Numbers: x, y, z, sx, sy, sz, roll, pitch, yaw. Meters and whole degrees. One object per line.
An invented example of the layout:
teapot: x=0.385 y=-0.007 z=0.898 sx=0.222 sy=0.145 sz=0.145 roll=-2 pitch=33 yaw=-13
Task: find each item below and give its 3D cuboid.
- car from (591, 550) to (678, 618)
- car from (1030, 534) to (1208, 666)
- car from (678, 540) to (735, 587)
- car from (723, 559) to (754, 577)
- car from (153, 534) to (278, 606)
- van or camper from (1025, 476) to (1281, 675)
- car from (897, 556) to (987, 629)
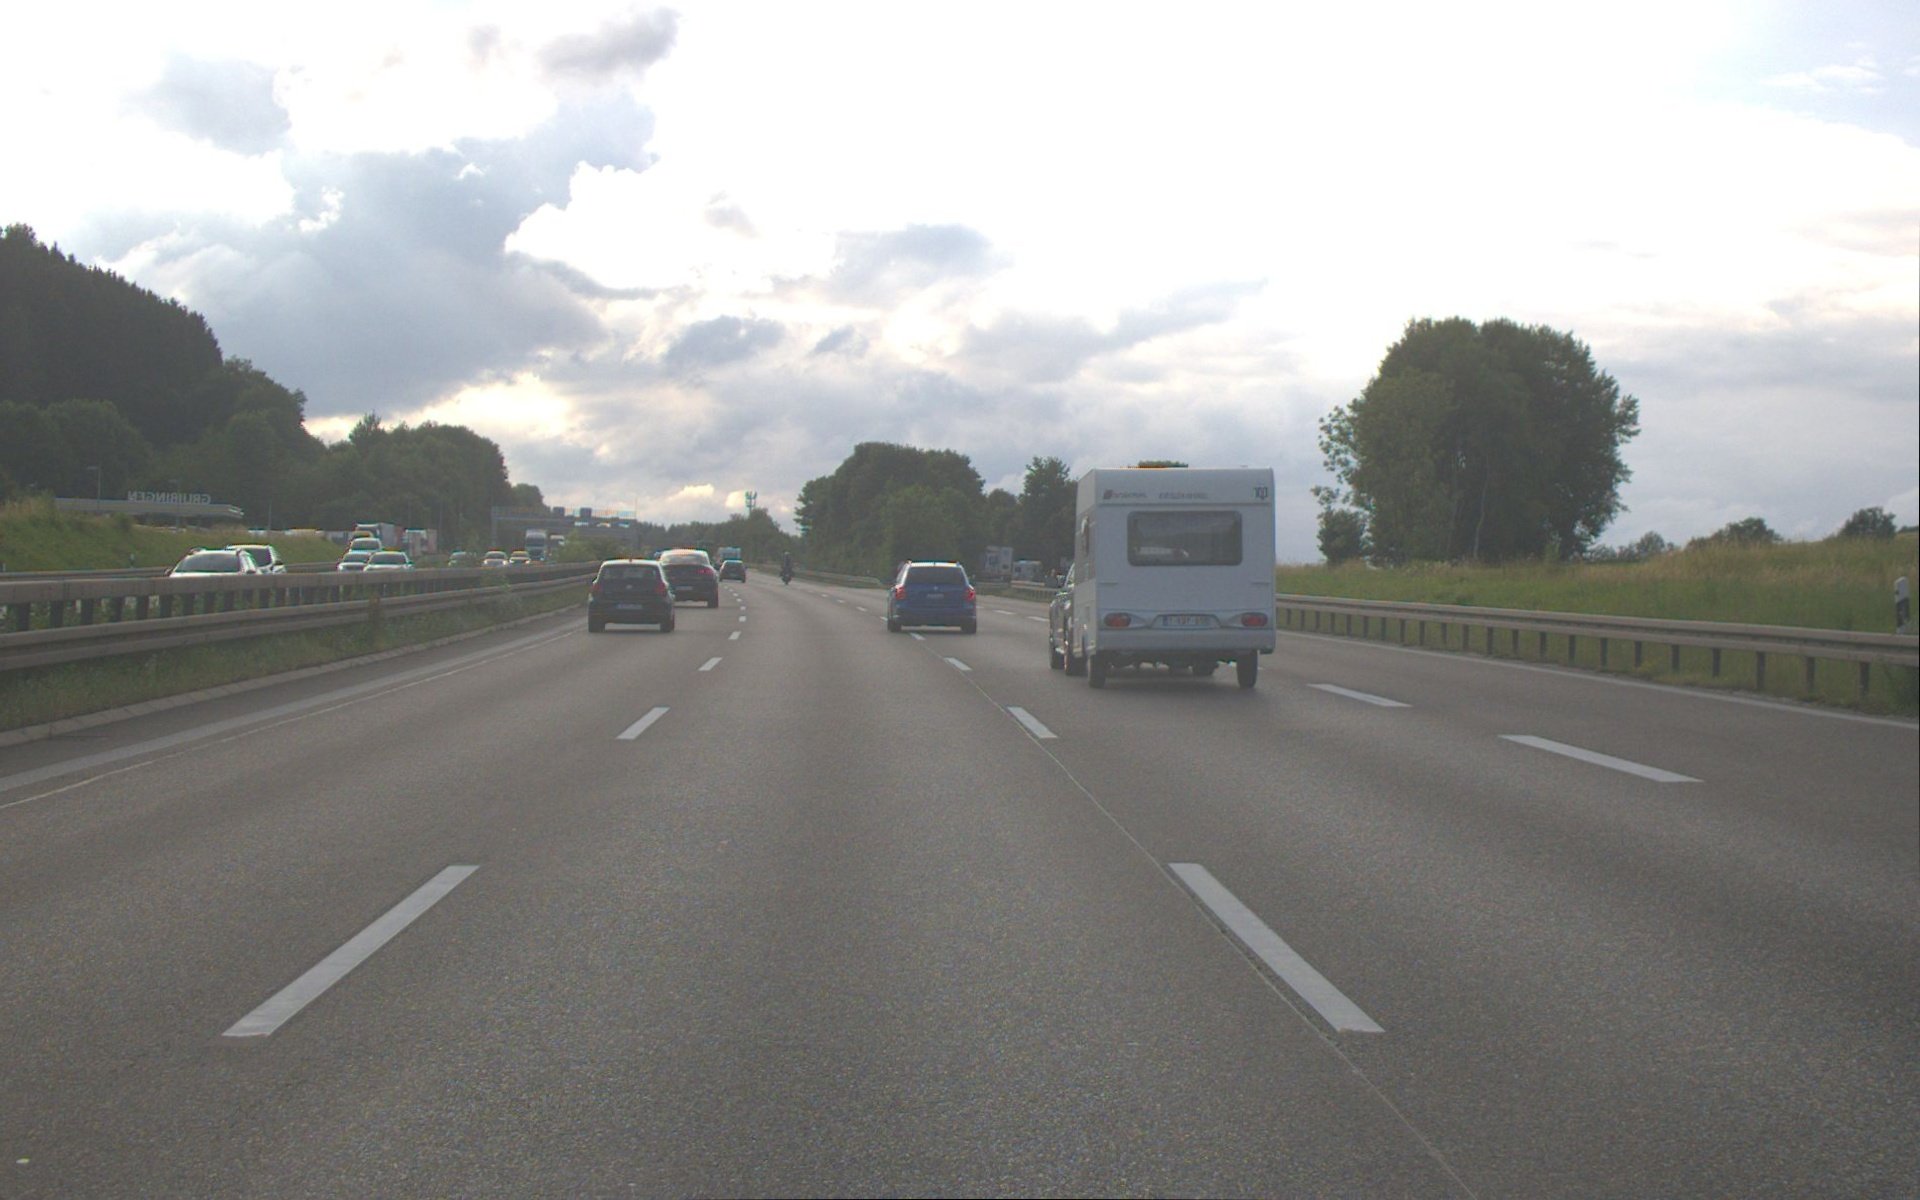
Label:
car: x=-6.589 y=-0.339 z=69.823 sx=1.538 sy=1.343 sz=3.677 roll=0 pitch=1 yaw=-2
car: x=2.067 y=-0.040 z=45.972 sx=1.786 sy=1.647 sz=4.482 roll=1 pitch=1 yaw=-5
car: x=-7.581 y=-1.096 z=103.095 sx=1.565 sy=1.376 sz=4.000 roll=0 pitch=1 yaw=-2
car: x=-14.883 y=-2.158 z=230.681 sx=1.750 sy=1.218 sz=4.001 roll=0 pitch=1 yaw=-9
car: x=-16.584 y=-0.690 z=76.739 sx=1.841 sy=1.525 sz=4.215 roll=-1 pitch=1 yaw=0
van or camper: x=2.242 y=-0.264 z=41.666 sx=2.547 sy=2.232 sz=5.329 roll=1 pitch=0 yaw=-3
car: x=-0.359 y=-0.157 z=70.121 sx=1.767 sy=1.428 sz=4.000 roll=-1 pitch=0 yaw=0
